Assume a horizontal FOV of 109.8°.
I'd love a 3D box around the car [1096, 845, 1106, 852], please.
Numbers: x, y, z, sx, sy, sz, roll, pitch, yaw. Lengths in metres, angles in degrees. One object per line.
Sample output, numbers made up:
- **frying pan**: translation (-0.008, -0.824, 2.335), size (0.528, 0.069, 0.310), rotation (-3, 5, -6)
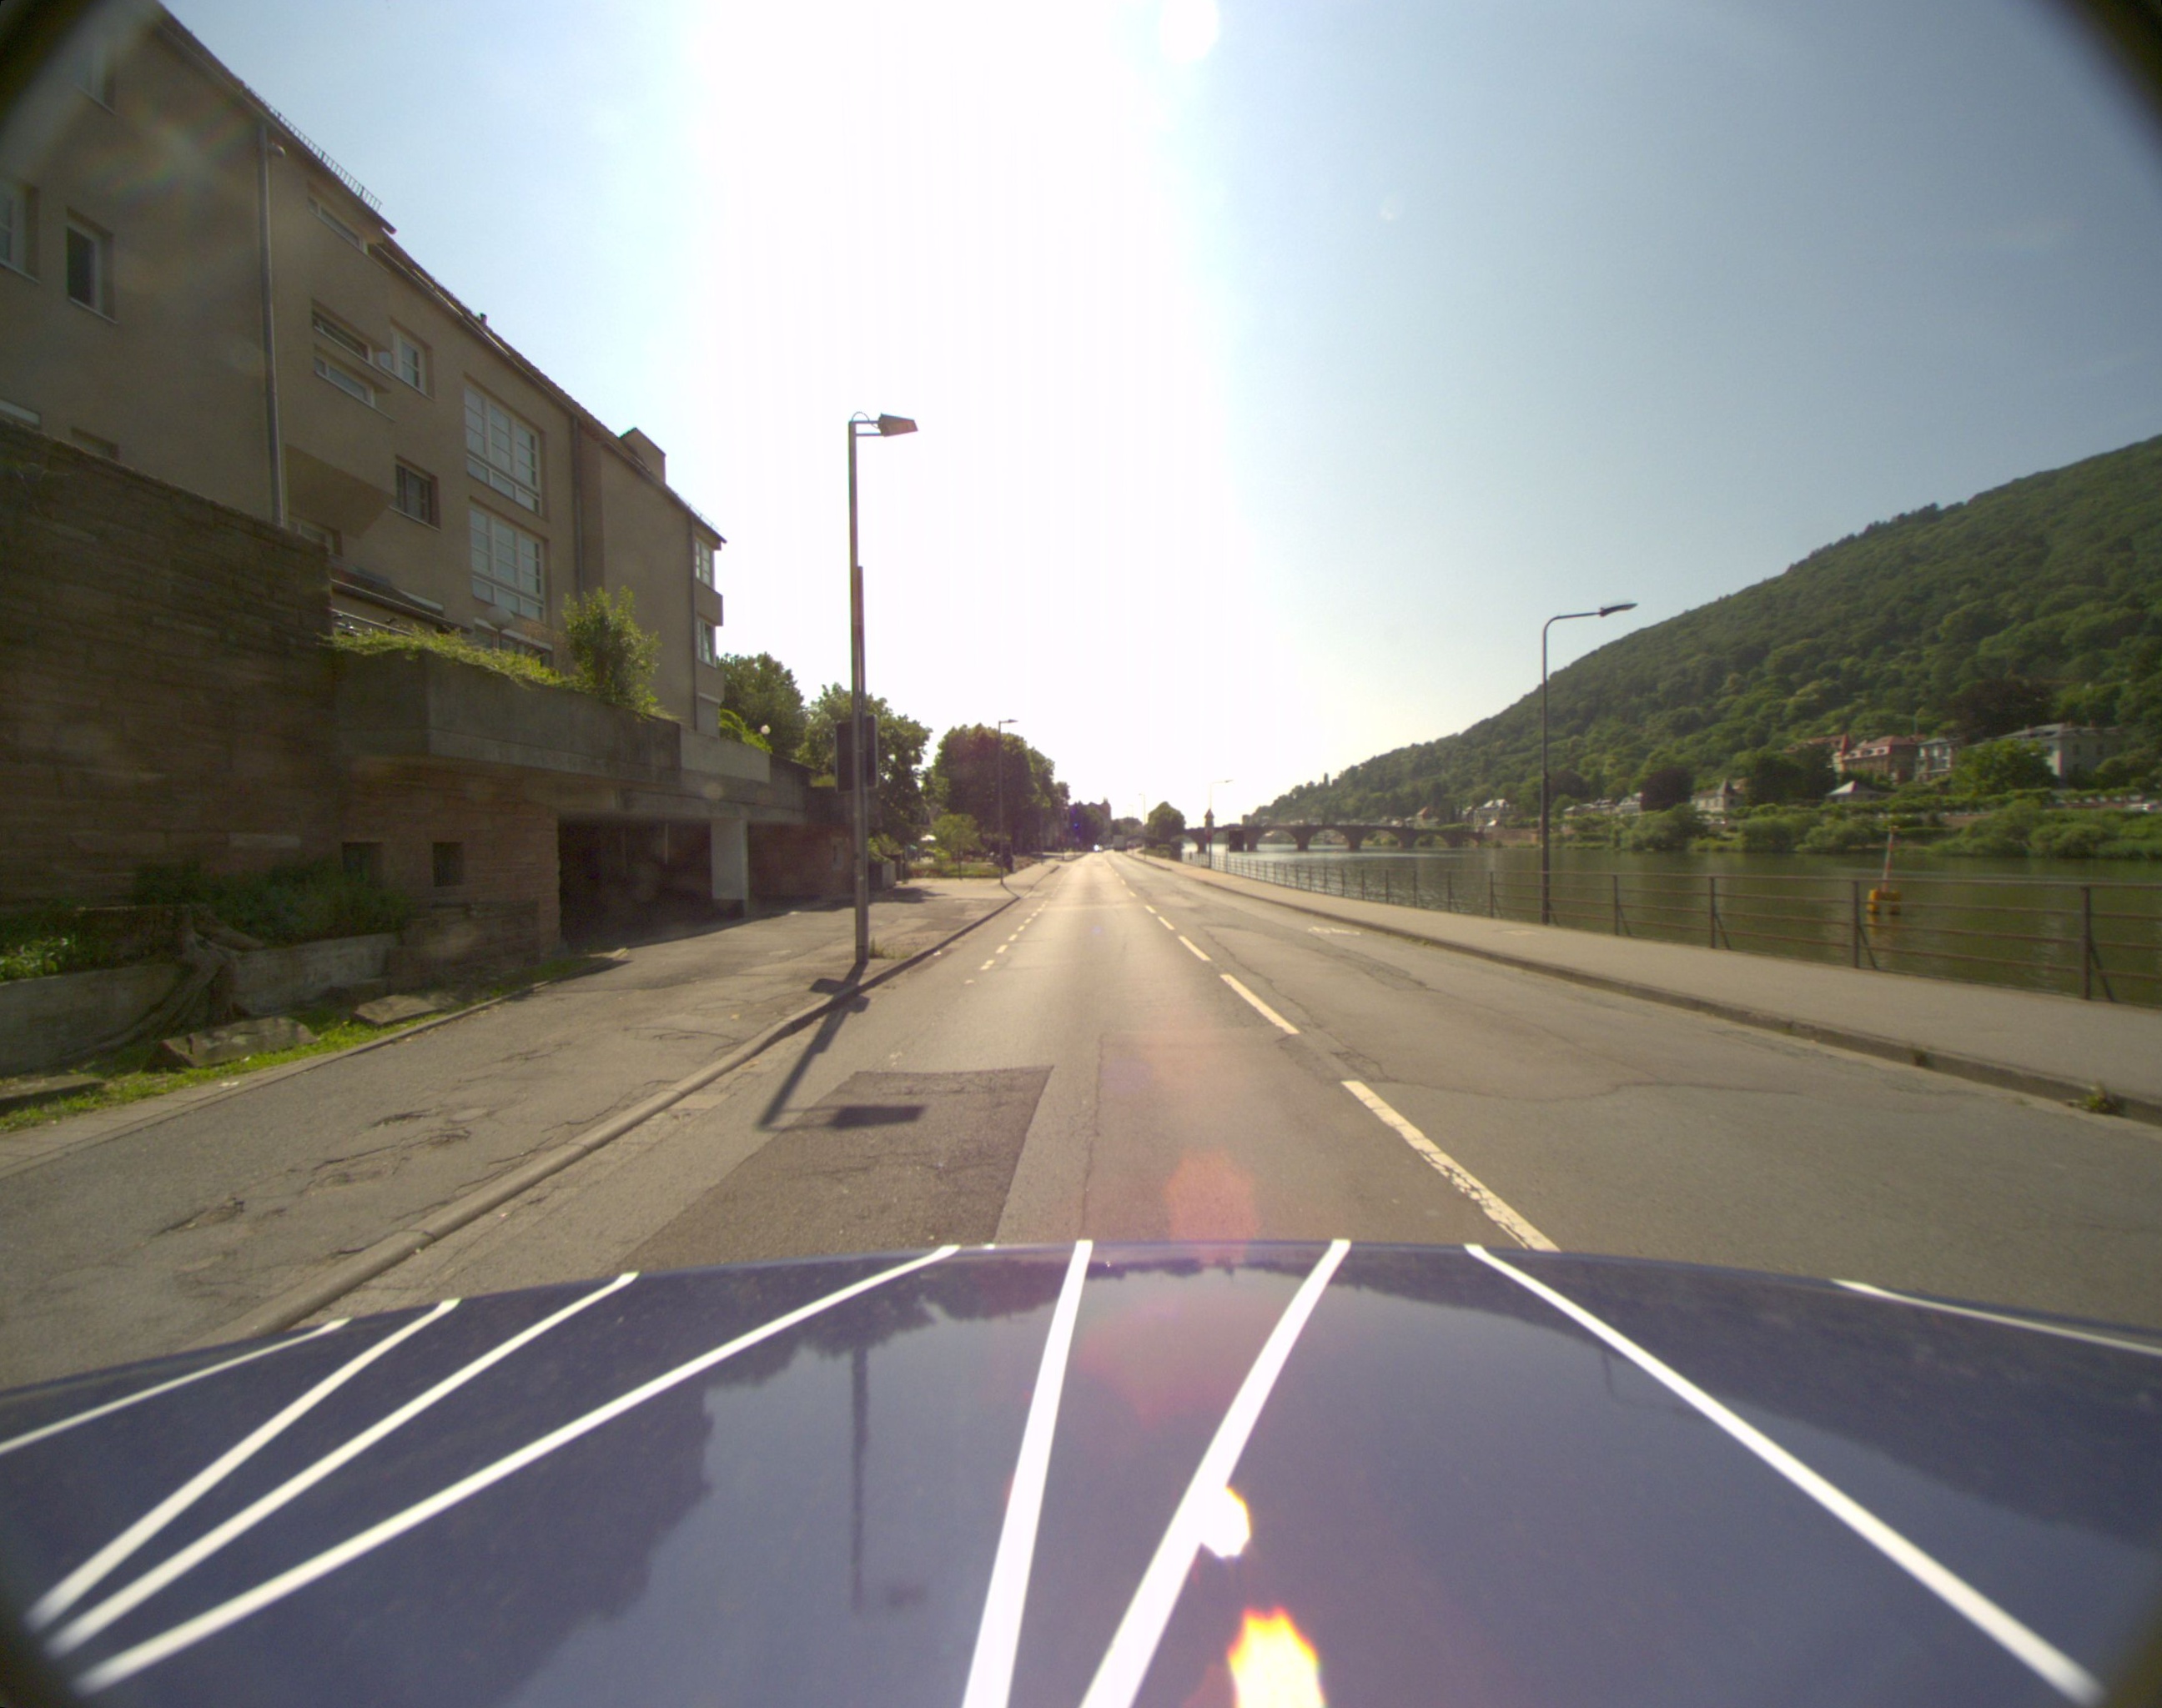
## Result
- **car**: translation (4.357, -1.170, 161.799), size (1.998, 1.433, 4.001), rotation (0, 0, 3)
